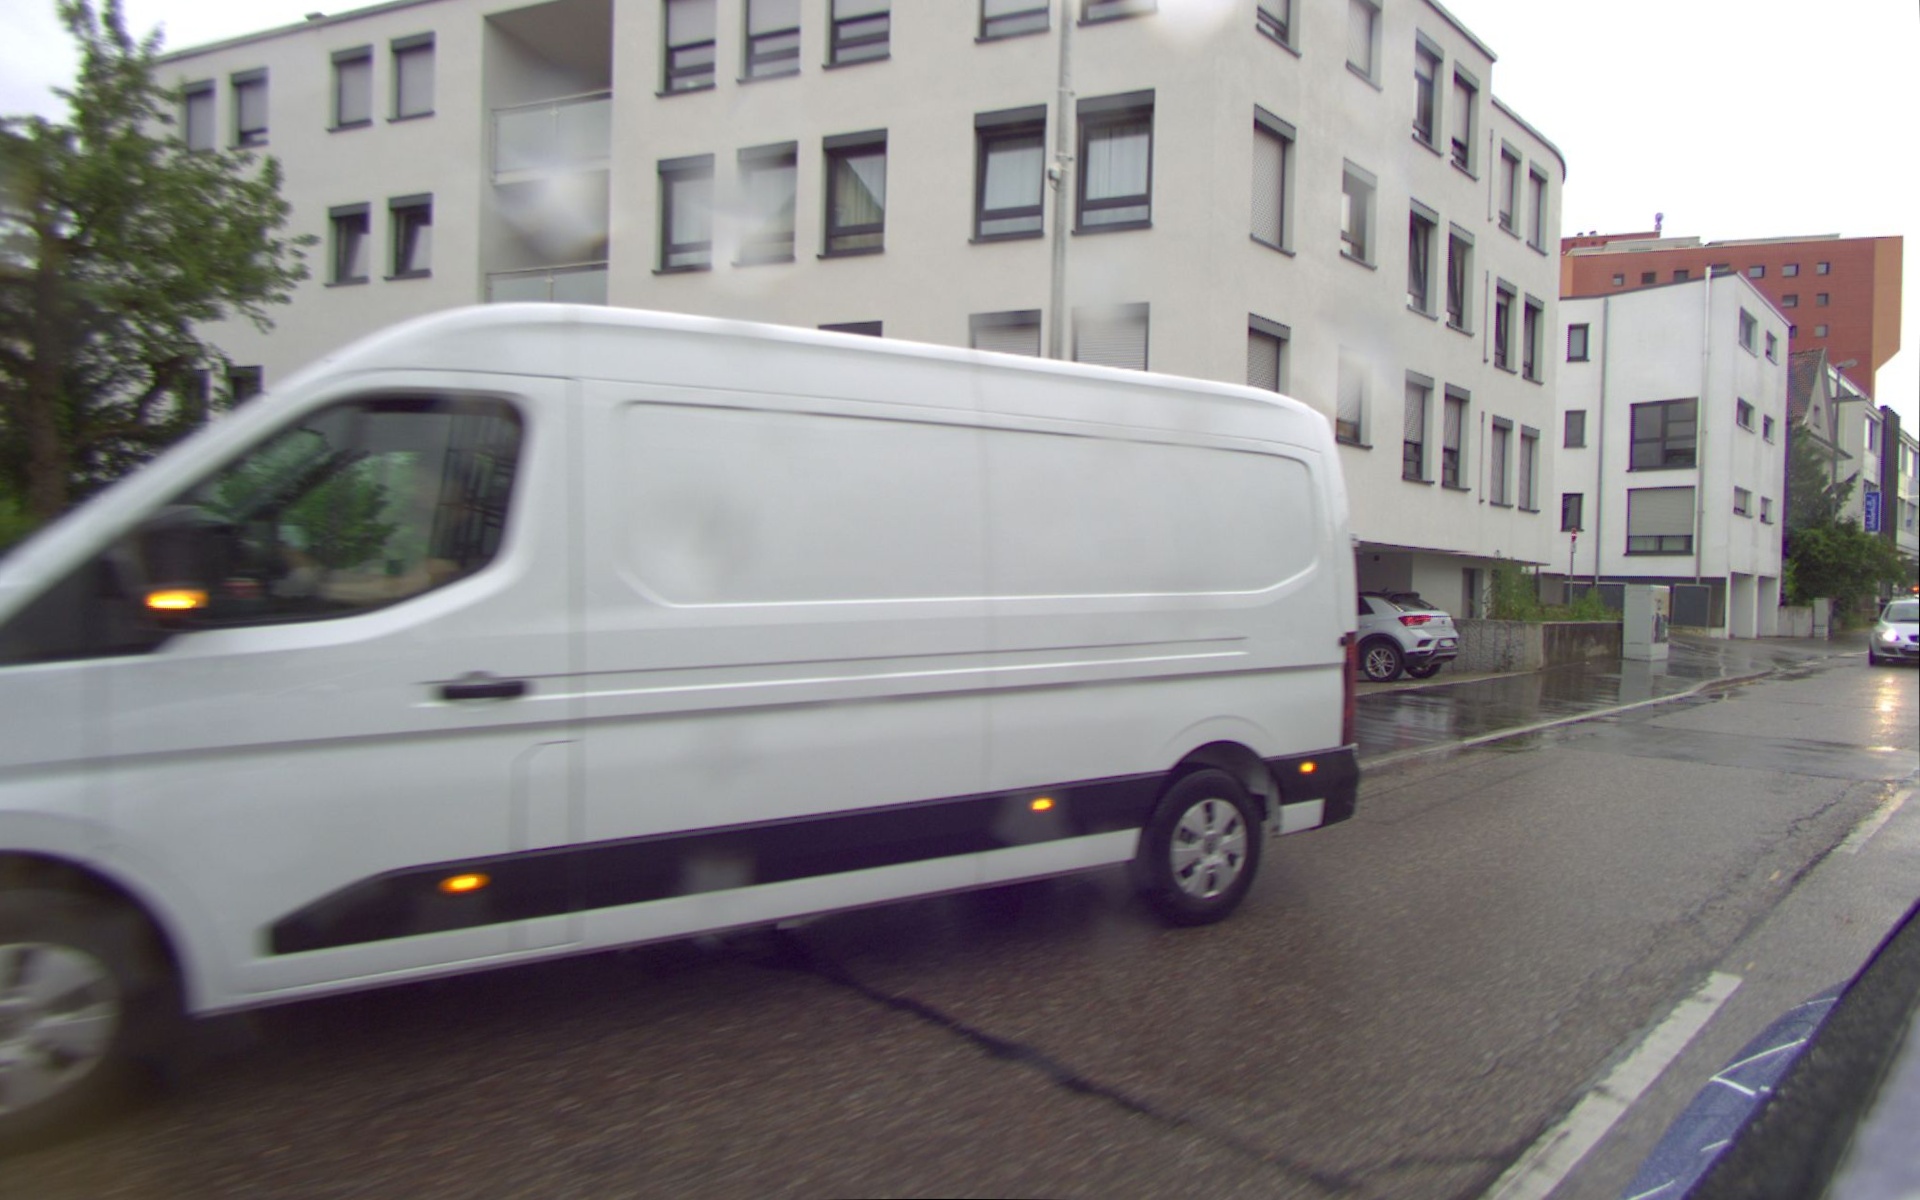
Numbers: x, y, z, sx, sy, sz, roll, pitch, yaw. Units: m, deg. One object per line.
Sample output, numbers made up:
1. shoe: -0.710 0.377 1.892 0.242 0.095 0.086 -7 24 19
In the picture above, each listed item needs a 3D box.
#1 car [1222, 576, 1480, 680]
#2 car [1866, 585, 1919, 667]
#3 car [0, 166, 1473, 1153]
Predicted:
1. car: 6.813 0.560 17.918 1.788 1.550 3.794 0 -5 -41
2. car: 22.820 0.558 23.746 4.290 1.641 2.013 -4 3 -44
3. car: -0.765 0.064 4.661 6.492 2.411 2.302 -1 3 -29
